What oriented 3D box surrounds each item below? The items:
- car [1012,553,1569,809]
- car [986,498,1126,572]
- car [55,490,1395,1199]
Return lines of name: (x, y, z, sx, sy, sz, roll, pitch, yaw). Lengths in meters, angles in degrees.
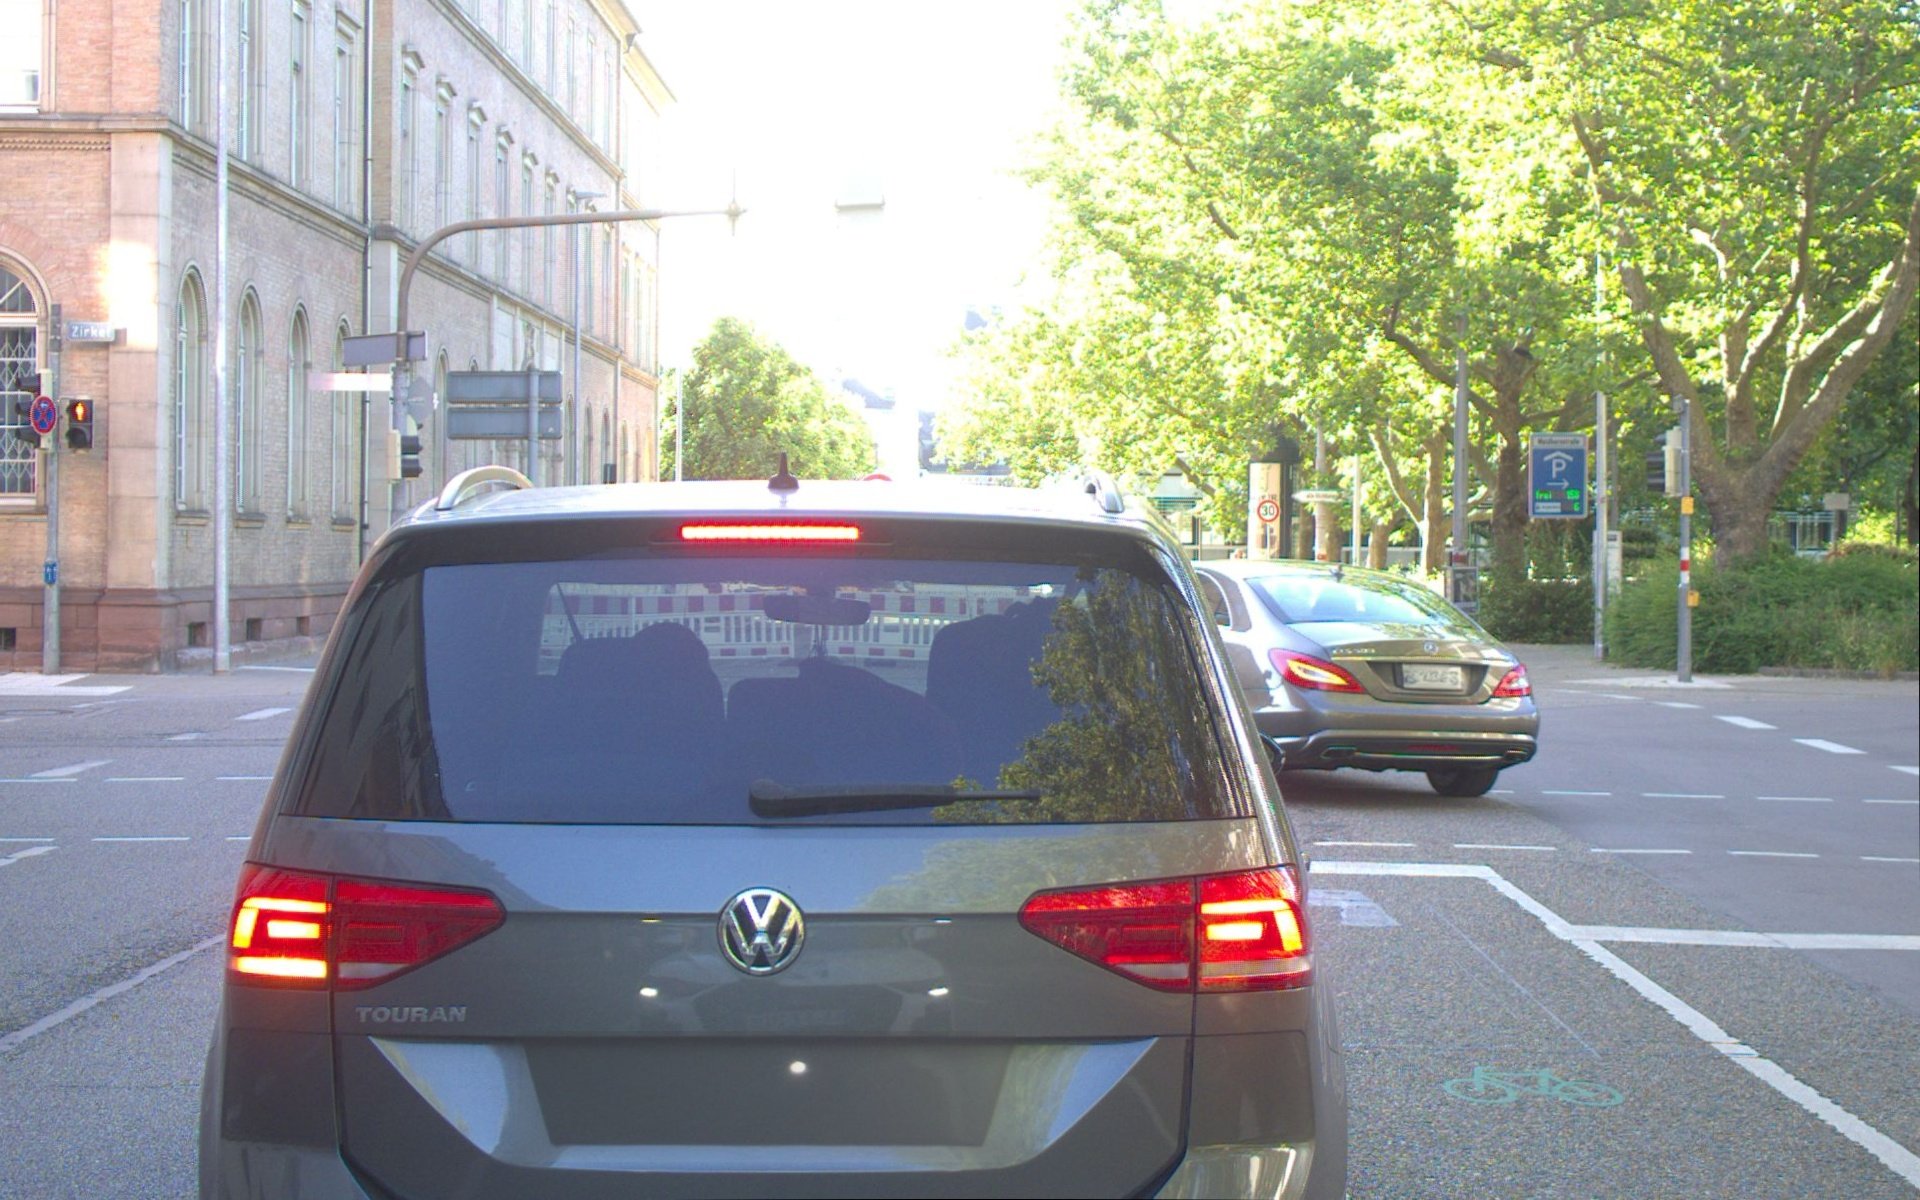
car: (1.950, 0.446, 21.857, 1.842, 1.424, 4.519, 1, 1, -18)
car: (2.400, -1.657, 86.909, 1.712, 1.606, 3.903, 4, 1, -28)
car: (-0.253, 0.636, 6.635, 1.809, 1.607, 4.000, 0, 1, 2)
